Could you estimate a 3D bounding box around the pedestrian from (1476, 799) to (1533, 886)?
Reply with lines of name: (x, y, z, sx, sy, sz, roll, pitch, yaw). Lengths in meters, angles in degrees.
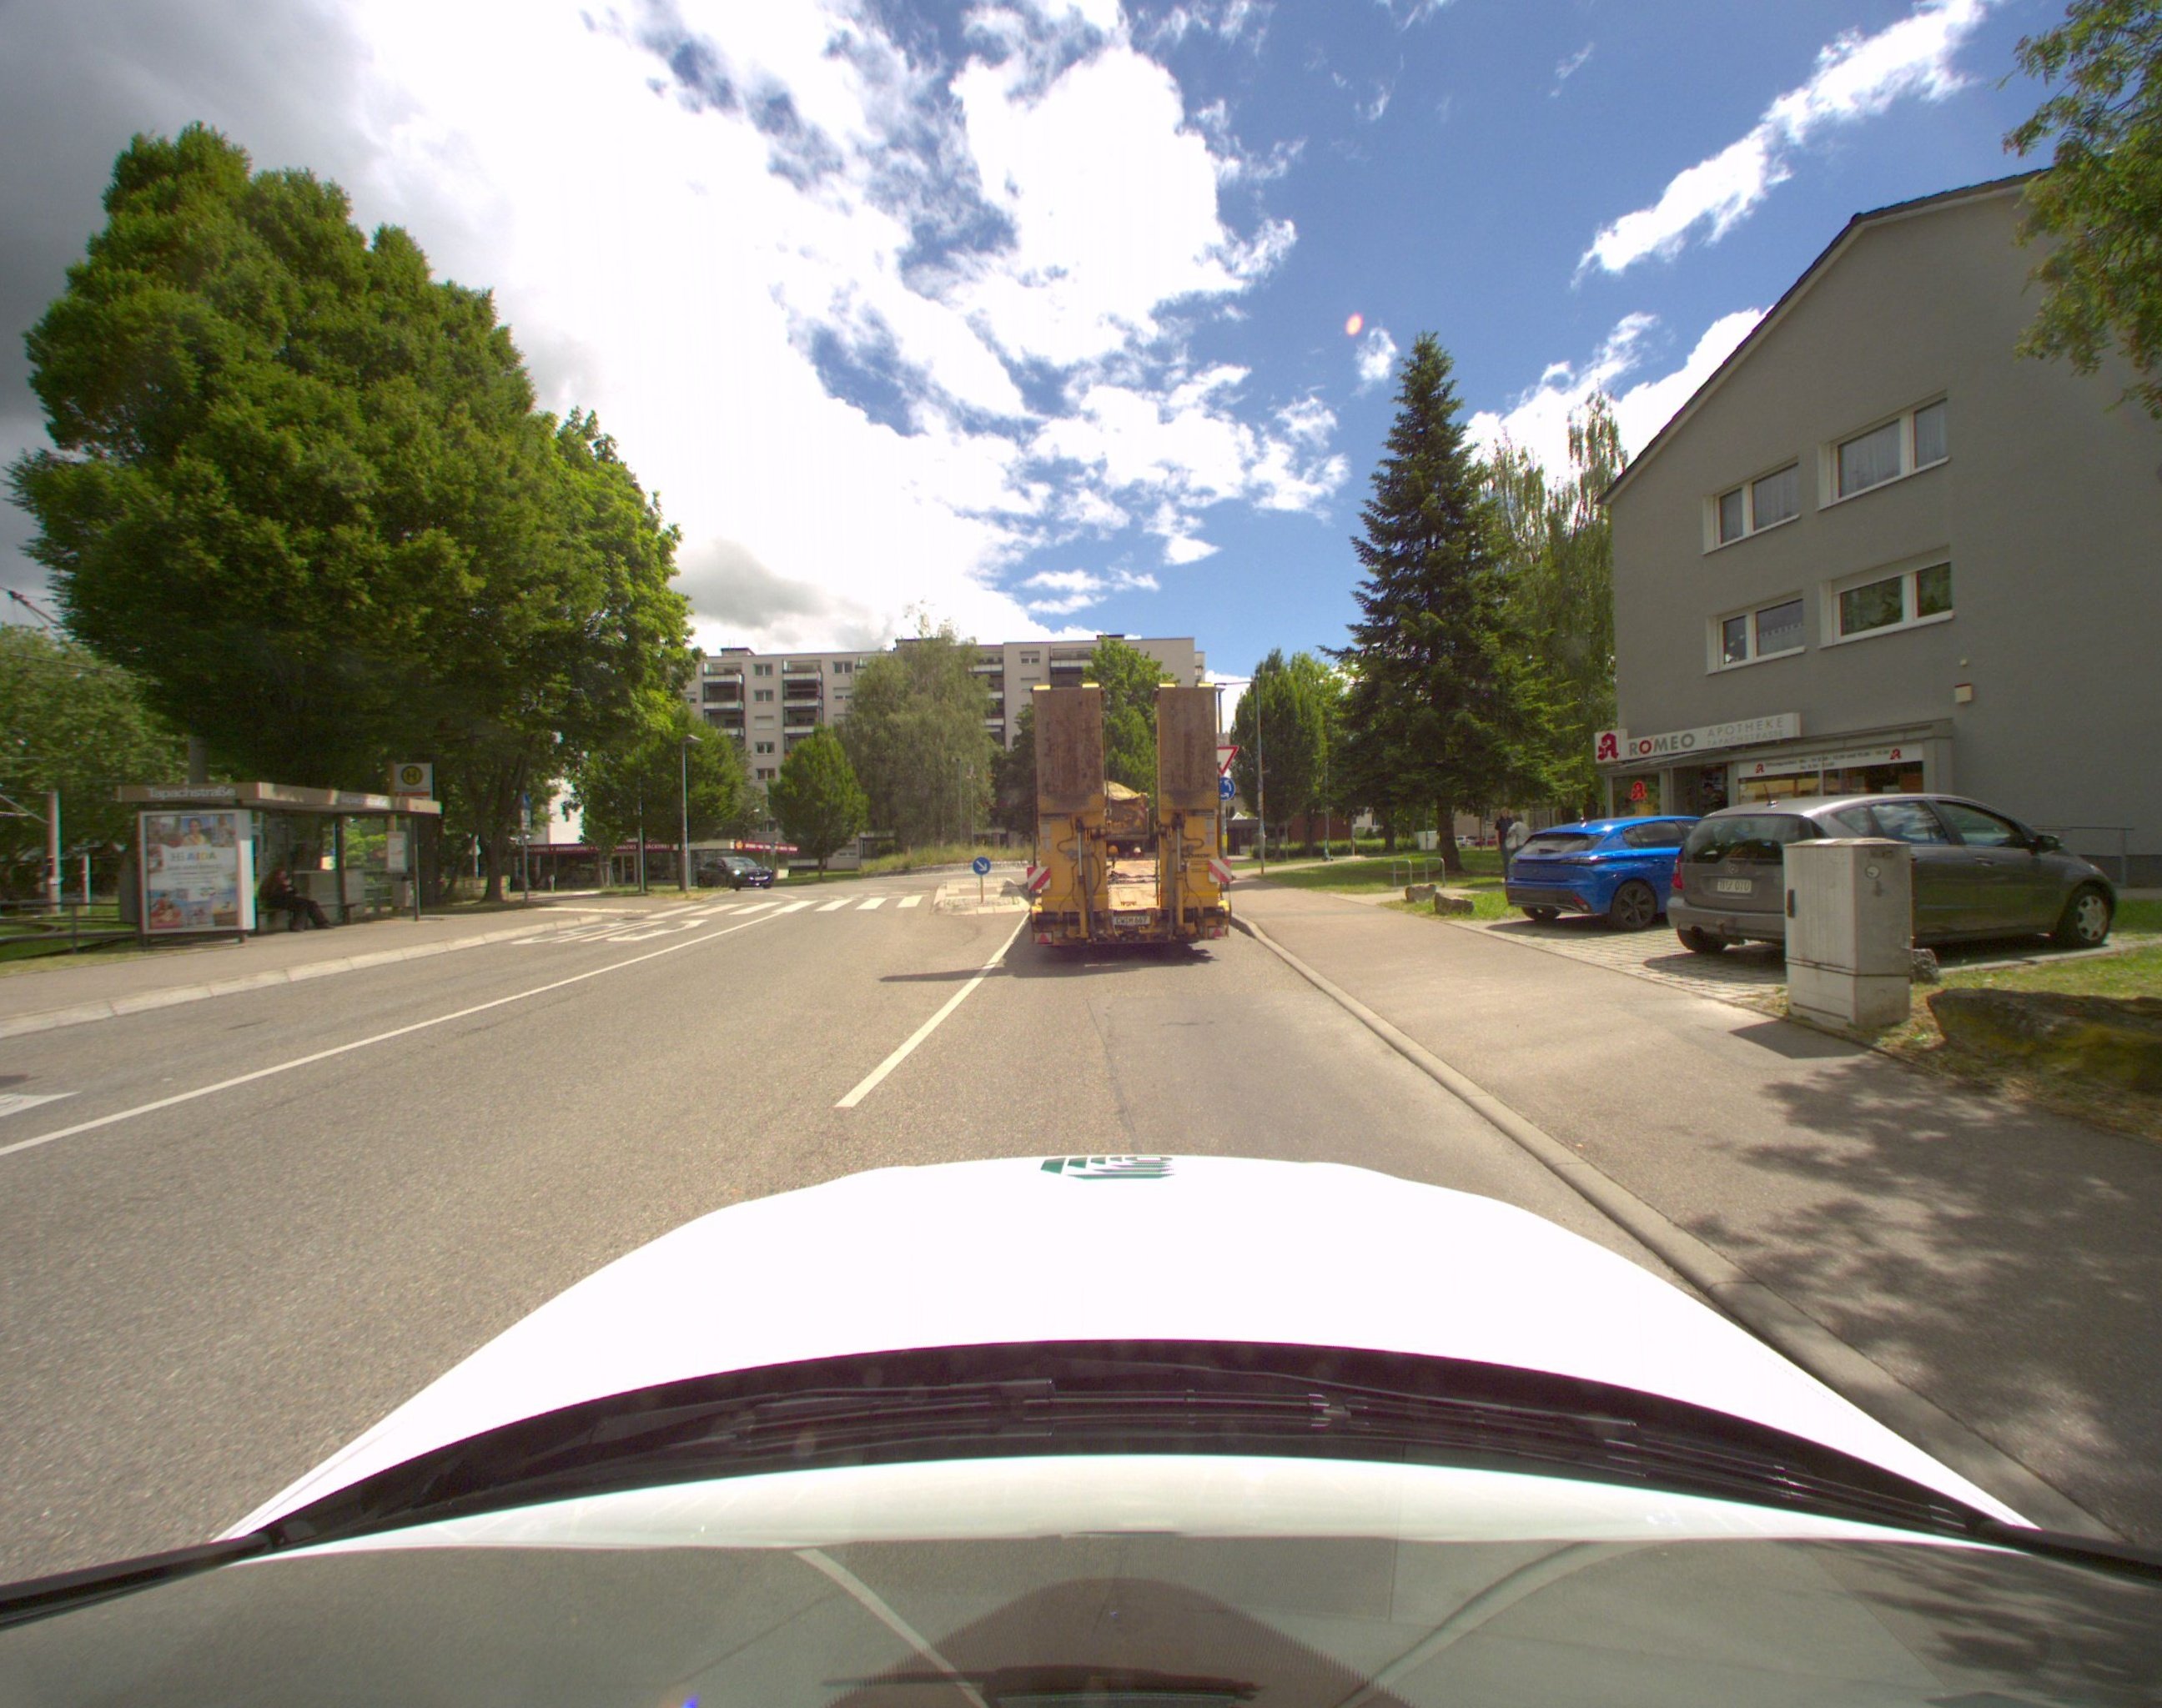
pedestrian: (10.178, -0.280, 19.586, 0.654, 2.013, 1.043, -2, 0, -11)

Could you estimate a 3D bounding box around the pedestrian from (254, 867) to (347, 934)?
pedestrian: (-14.021, 0.811, 14.654, 0.797, 1.135, 0.909, -1, 0, -6)

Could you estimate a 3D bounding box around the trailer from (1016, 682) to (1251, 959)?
trailer: (0.699, -0.533, 15.402, 2.854, 3.372, 10.842, 0, 1, 0)

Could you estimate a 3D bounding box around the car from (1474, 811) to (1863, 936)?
car: (8.275, 0.213, 11.629, 4.487, 1.243, 1.992, -5, 1, -12)

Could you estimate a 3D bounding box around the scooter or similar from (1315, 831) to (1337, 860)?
scooter or similar: (11.893, -0.413, 39.559, 0.480, 1.343, 1.397, -3, 1, 38)

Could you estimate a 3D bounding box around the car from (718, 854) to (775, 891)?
car: (-15.575, 0.829, 37.811, 2.005, 1.525, 4.484, -3, 1, -27)

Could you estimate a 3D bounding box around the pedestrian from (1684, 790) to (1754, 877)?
pedestrian: (14.930, -0.479, 19.085, 0.842, 1.956, 0.936, -2, 0, -19)

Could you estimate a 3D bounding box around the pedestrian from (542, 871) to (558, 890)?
pedestrian: (-41.785, 2.086, 64.133, 0.693, 1.380, 0.721, -3, 0, 6)

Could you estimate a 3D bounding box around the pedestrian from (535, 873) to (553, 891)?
pedestrian: (-41.735, 2.187, 63.275, 0.817, 1.325, 0.880, 0, 0, -1)

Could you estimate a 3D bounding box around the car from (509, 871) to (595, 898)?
car: (-31.222, 1.824, 48.064, 4.564, 1.383, 1.833, -2, 0, 20)

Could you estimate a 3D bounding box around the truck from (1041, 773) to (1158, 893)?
truck: (0.314, -0.677, 24.997, 2.980, 3.034, 8.480, 0, 2, -2)

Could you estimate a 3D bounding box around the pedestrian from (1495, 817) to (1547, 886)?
pedestrian: (10.107, -0.057, 18.734, 0.741, 1.529, 0.689, -2, 0, -7)

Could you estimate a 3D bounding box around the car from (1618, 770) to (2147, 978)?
car: (7.918, 0.132, 8.259, 3.730, 1.556, 2.025, -4, 1, -11)

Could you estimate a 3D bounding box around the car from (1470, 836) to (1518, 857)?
car: (39.858, -0.714, 78.607, 2.015, 1.941, 3.980, 0, 0, -15)
